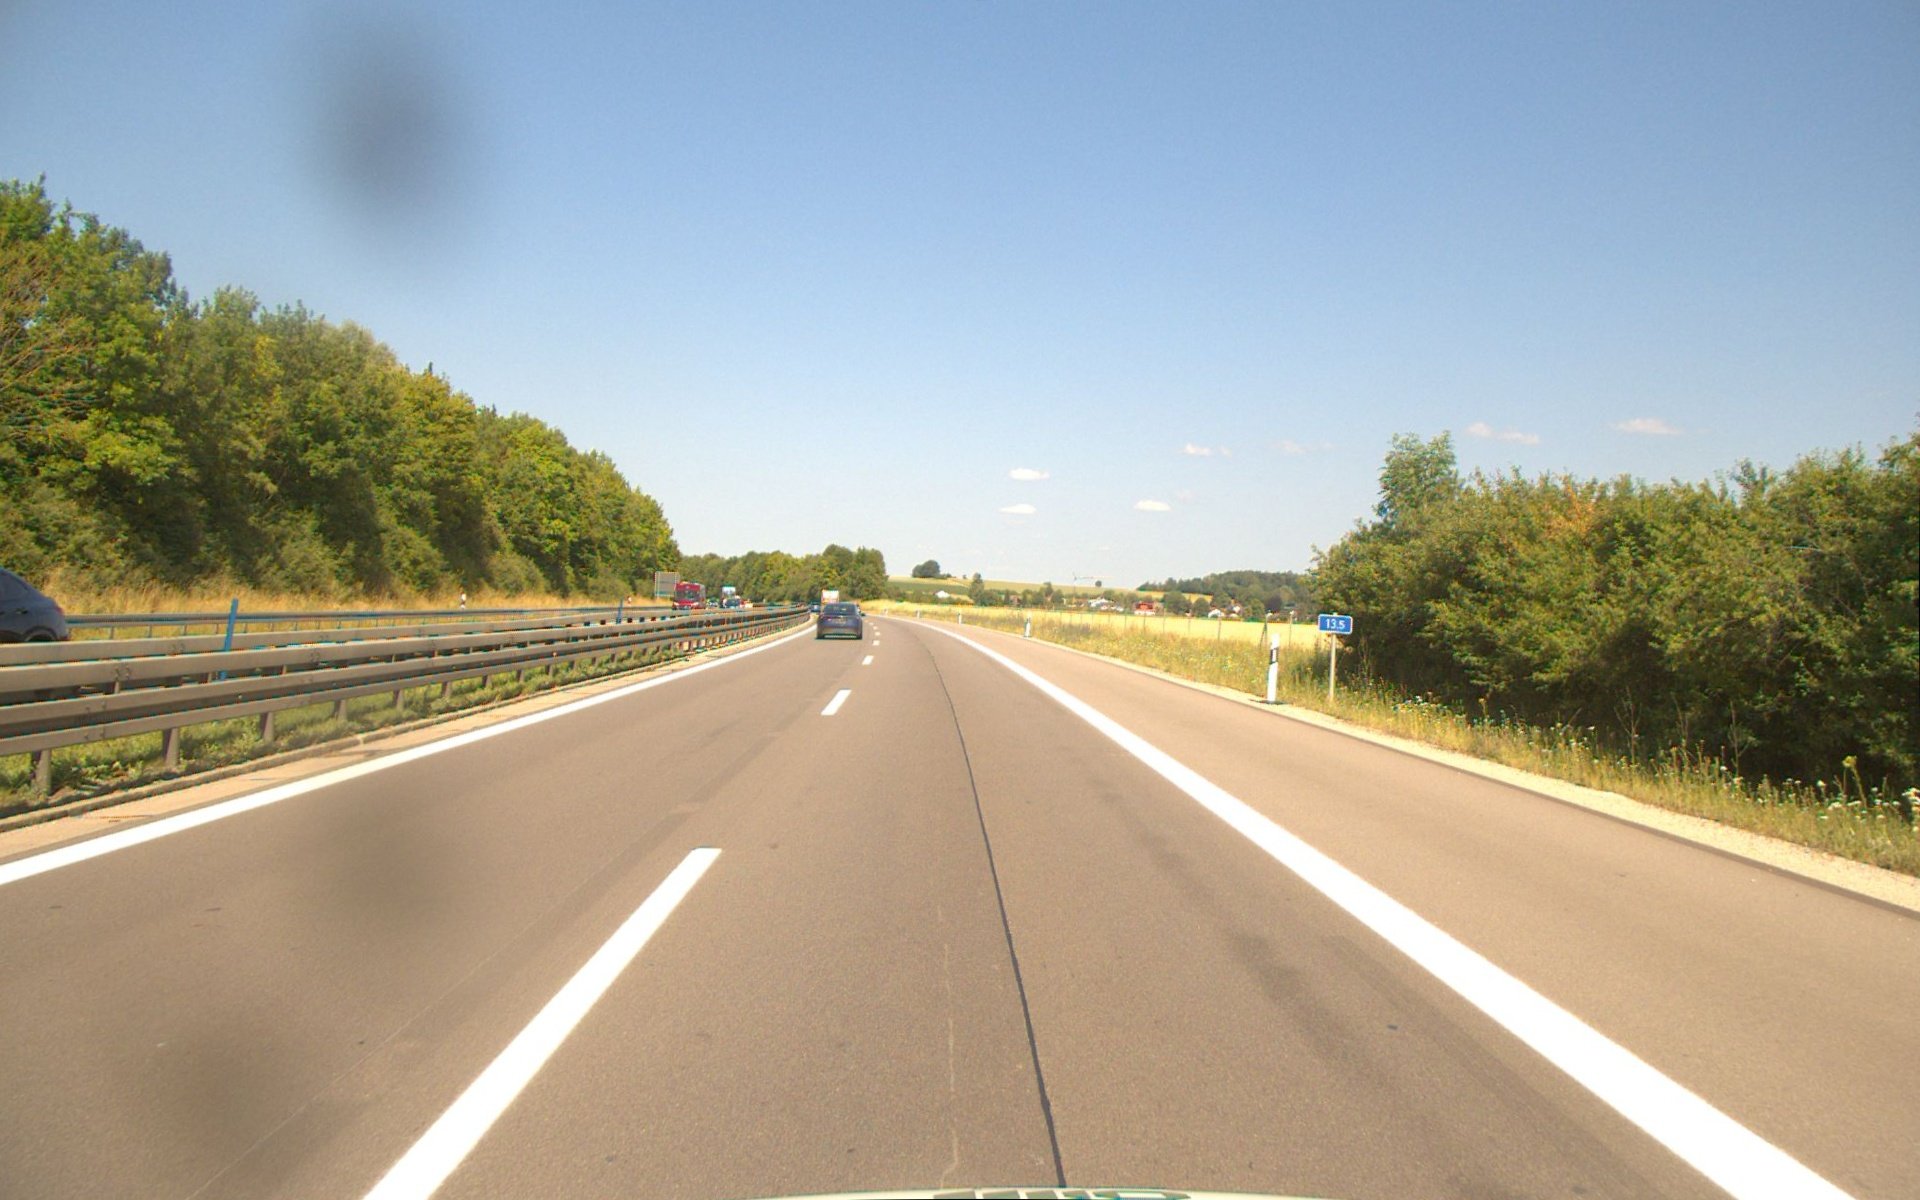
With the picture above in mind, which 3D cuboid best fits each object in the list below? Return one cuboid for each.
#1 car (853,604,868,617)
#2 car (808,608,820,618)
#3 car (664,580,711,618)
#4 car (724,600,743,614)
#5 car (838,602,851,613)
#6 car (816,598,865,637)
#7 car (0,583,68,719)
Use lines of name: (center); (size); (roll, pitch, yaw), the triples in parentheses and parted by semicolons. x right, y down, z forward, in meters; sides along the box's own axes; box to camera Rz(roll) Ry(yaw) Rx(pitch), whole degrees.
car: (-12.374, 1.285, 205.505); (1.643, 1.478, 3.587); (1, 0, -6)
car: (-21.185, 1.870, 240.605); (1.643, 1.478, 3.588); (1, 0, -5)
car: (-19.848, -0.094, 120.712); (2.493, 2.640, 6.589); (2, 0, -3)
car: (-26.406, 0.820, 193.086); (1.775, 1.582, 4.845); (2, 0, -4)
car: (-16.499, 1.083, 236.347); (1.643, 1.478, 3.588); (1, 0, -5)
car: (-4.839, 0.671, 67.588); (1.810, 1.458, 5.863); (1, 0, -3)
car: (-11.046, 0.528, 17.008); (1.628, 1.447, 3.999); (1, 0, -1)
